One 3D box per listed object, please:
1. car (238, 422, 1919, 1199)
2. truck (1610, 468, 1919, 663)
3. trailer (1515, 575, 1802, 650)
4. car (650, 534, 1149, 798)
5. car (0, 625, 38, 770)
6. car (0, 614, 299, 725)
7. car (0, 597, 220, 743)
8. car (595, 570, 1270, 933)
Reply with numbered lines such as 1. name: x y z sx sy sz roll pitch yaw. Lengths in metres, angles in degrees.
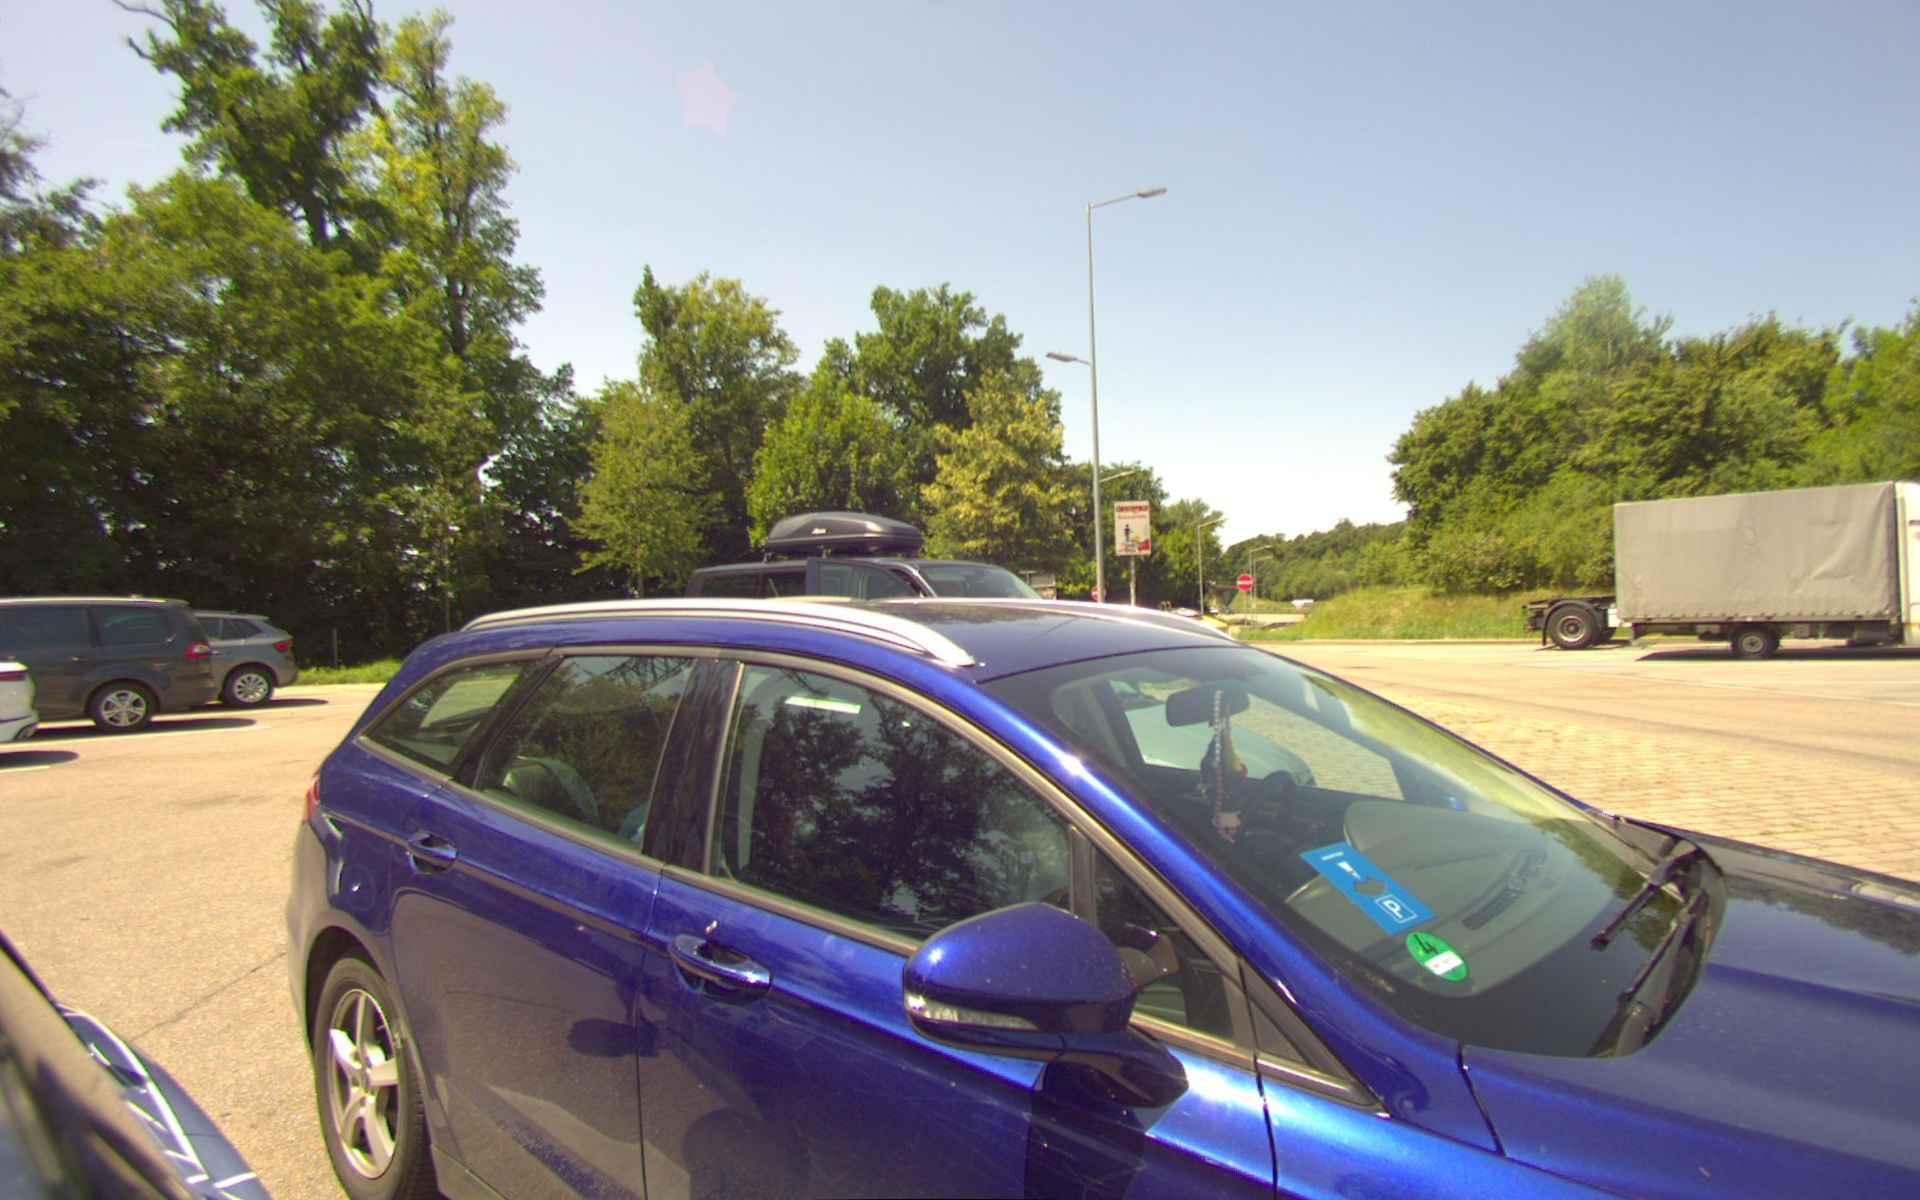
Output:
1. car: 0.247 0.652 2.079 4.426 1.455 1.763 -2 -1 40
2. truck: 16.716 -0.617 18.841 7.308 3.258 2.294 -5 -2 43
3. trailer: 16.336 0.349 23.914 5.393 1.608 1.576 -2 -1 41
4. car: -0.725 0.536 9.411 4.426 1.875 2.022 -2 -1 40
5. car: -10.953 0.947 9.191 3.753 1.377 1.804 0 -1 -45
6. car: -12.603 0.977 15.619 3.753 1.488 1.743 0 -1 -45
7. car: -11.707 0.840 12.579 3.830 1.703 1.883 0 -2 -45
8. car: -0.357 0.652 5.800 3.739 1.424 1.587 -2 -1 40
